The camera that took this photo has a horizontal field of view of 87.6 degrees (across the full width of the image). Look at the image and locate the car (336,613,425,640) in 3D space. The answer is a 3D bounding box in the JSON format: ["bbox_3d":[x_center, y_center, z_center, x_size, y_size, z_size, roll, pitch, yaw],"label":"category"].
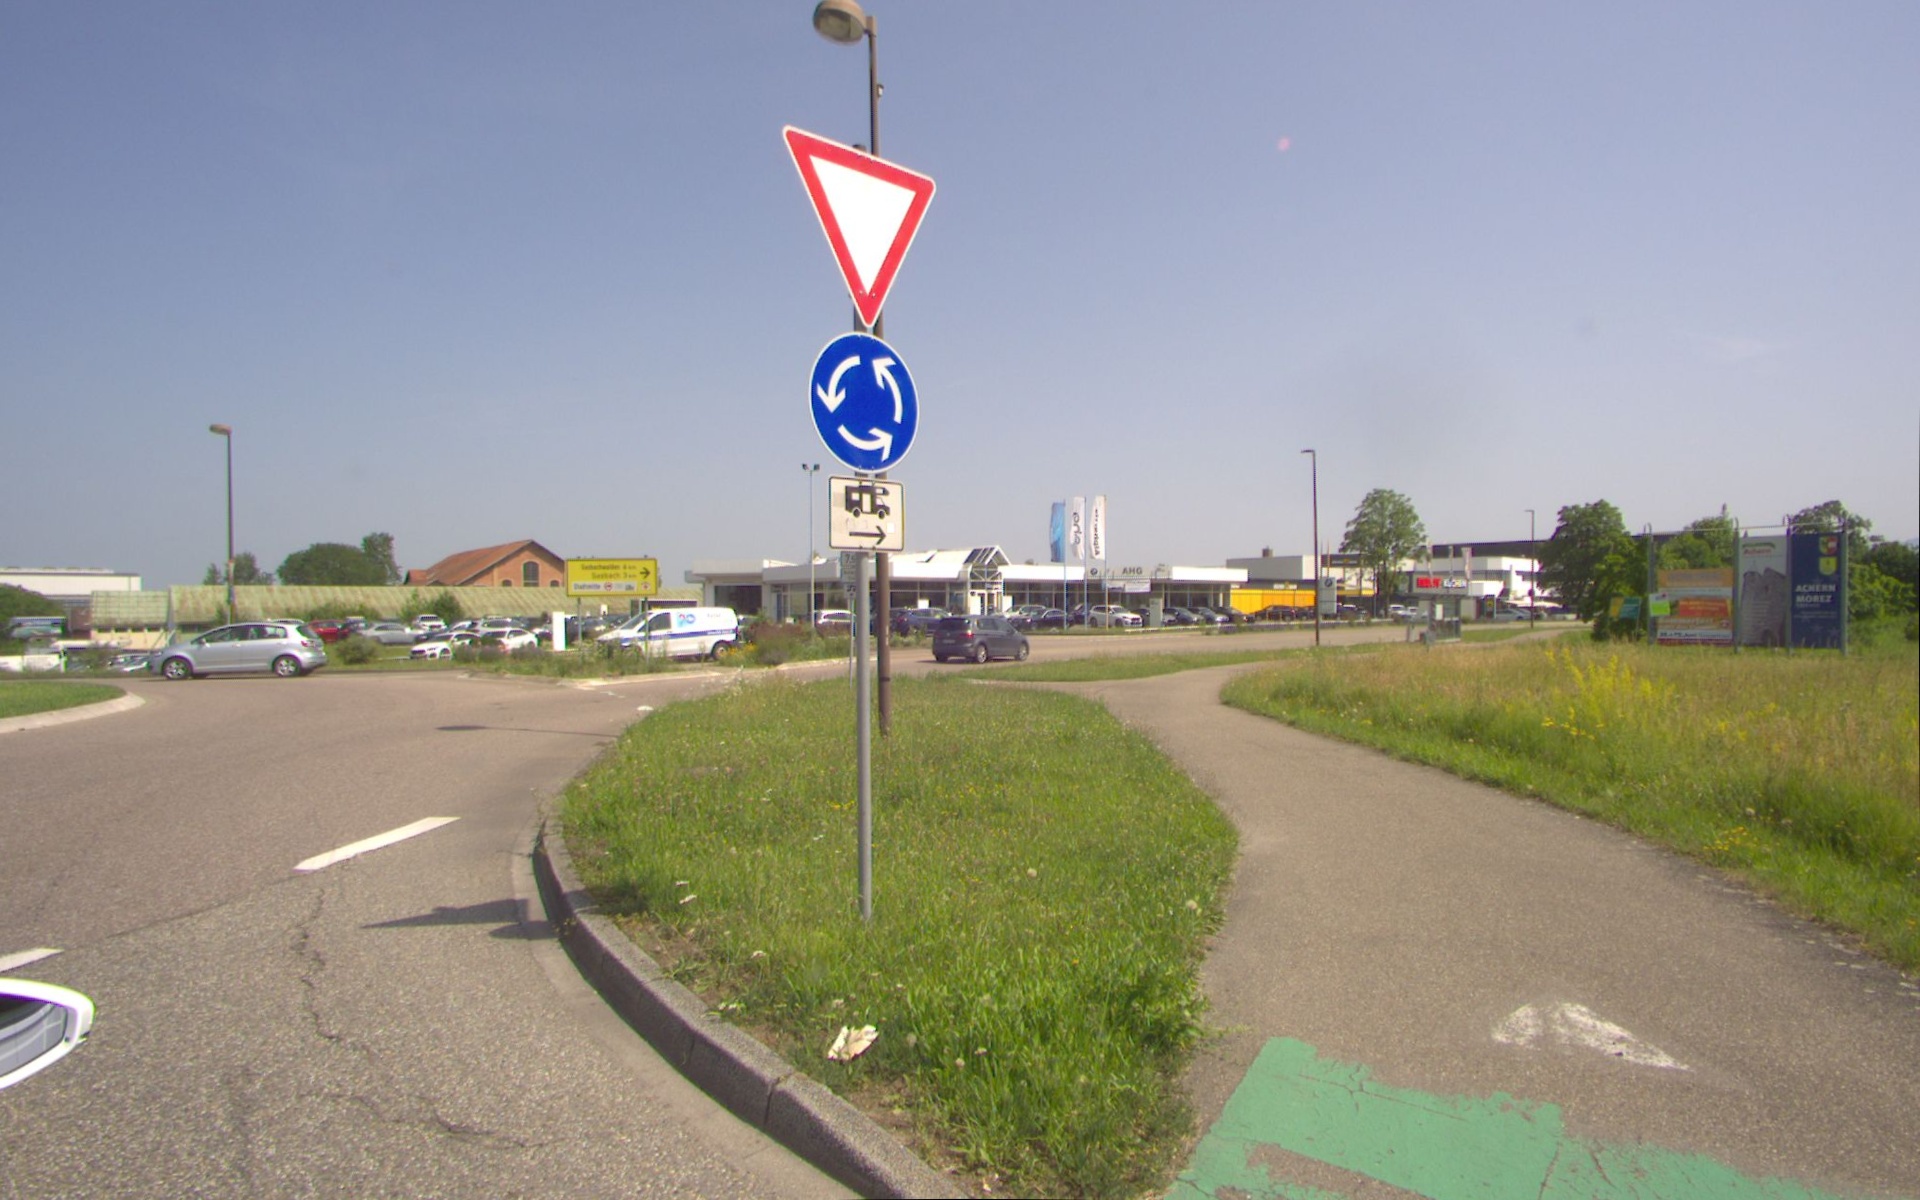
[{"bbox_3d":[-35.680,1.633,61.725,4.422,1.520,1.931,-1,0,-43],"label":"car"}]

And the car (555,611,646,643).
[{"bbox_3d":[-20.282,1.507,56.543,4.379,1.520,1.932,-4,1,-43],"label":"car"}]

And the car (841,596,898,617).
[{"bbox_3d":[-7.009,0.490,77.469,3.992,1.607,1.895,-1,0,-37],"label":"car"}]

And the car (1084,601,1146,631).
[{"bbox_3d":[11.240,1.207,72.811,1.977,2.039,4.229,1,-3,-38],"label":"car"}]

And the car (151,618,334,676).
[{"bbox_3d":[-20.413,1.326,28.693,4.025,1.549,1.778,0,-2,-28],"label":"car"}]

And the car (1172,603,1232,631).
[{"bbox_3d":[18.901,1.338,78.193,1.977,2.039,4.229,1,-3,-38],"label":"car"}]

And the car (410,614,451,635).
[{"bbox_3d":[-41.104,1.897,77.700,1.901,1.617,4.268,-1,0,-40],"label":"car"}]

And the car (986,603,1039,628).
[{"bbox_3d":[3.681,1.078,70.265,3.657,1.675,1.569,1,-3,-40],"label":"car"}]

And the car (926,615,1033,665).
[{"bbox_3d":[0.724,1.305,33.774,1.749,1.503,4.018,-1,0,33],"label":"car"}]

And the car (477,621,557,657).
[{"bbox_3d":[-23.959,2.076,54.407,1.734,1.592,4.661,-1,2,8],"label":"car"}]

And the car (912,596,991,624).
[{"bbox_3d":[-0.522,0.583,57.638,4.293,1.532,1.908,-1,0,-10],"label":"car"}]

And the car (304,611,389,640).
[{"bbox_3d":[-39.796,1.616,65.009,4.422,1.770,1.932,-1,0,-43],"label":"car"}]

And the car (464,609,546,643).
[{"bbox_3d":[-26.776,1.503,58.958,3.966,1.774,1.931,-2,1,-43],"label":"car"}]

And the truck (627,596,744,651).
[{"bbox_3d":[-14.341,1.192,52.474,5.558,2.700,1.935,-1,0,-37],"label":"truck"}]

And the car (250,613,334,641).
[{"bbox_3d":[-44.907,1.810,67.376,4.422,1.770,1.822,-1,0,-43],"label":"car"}]

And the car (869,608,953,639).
[{"bbox_3d":[-2.632,1.224,53.286,4.293,1.532,1.908,-1,0,-10],"label":"car"}]

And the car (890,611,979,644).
[{"bbox_3d":[-1.322,1.385,51.245,4.293,1.532,1.908,-1,0,-10],"label":"car"}]

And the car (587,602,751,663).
[{"bbox_3d":[-10.024,1.131,34.693,5.167,1.962,1.848,1,-3,-37],"label":"car"}]

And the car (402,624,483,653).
[{"bbox_3d":[-30.366,2.205,58.766,3.959,1.546,1.935,-1,0,-37],"label":"car"}]

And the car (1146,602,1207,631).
[{"bbox_3d":[16.476,1.287,76.279,1.977,2.039,4.229,1,-3,-38],"label":"car"}]

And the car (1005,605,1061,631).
[{"bbox_3d":[4.939,1.204,67.582,3.657,1.675,1.569,1,-3,-40],"label":"car"}]

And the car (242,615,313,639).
[{"bbox_3d":[-46.837,1.852,68.758,3.847,1.553,1.752,-1,0,-43],"label":"car"}]

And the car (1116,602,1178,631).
[{"bbox_3d":[13.929,1.256,74.774,1.977,2.039,4.229,1,-3,-38],"label":"car"}]

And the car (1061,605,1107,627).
[{"bbox_3d":[9.815,1.289,79.074,3.657,1.675,1.569,1,-3,-40],"label":"car"}]

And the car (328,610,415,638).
[{"bbox_3d":[-37.262,1.507,63.458,4.422,1.656,1.932,-1,0,-43],"label":"car"}]

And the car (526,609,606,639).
[{"bbox_3d":[-23.228,1.369,59.057,3.966,1.520,1.931,-3,2,-43],"label":"car"}]

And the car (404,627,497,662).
[{"bbox_3d":[-26.860,2.336,52.968,1.736,1.591,4.572,-2,0,14],"label":"car"}]
